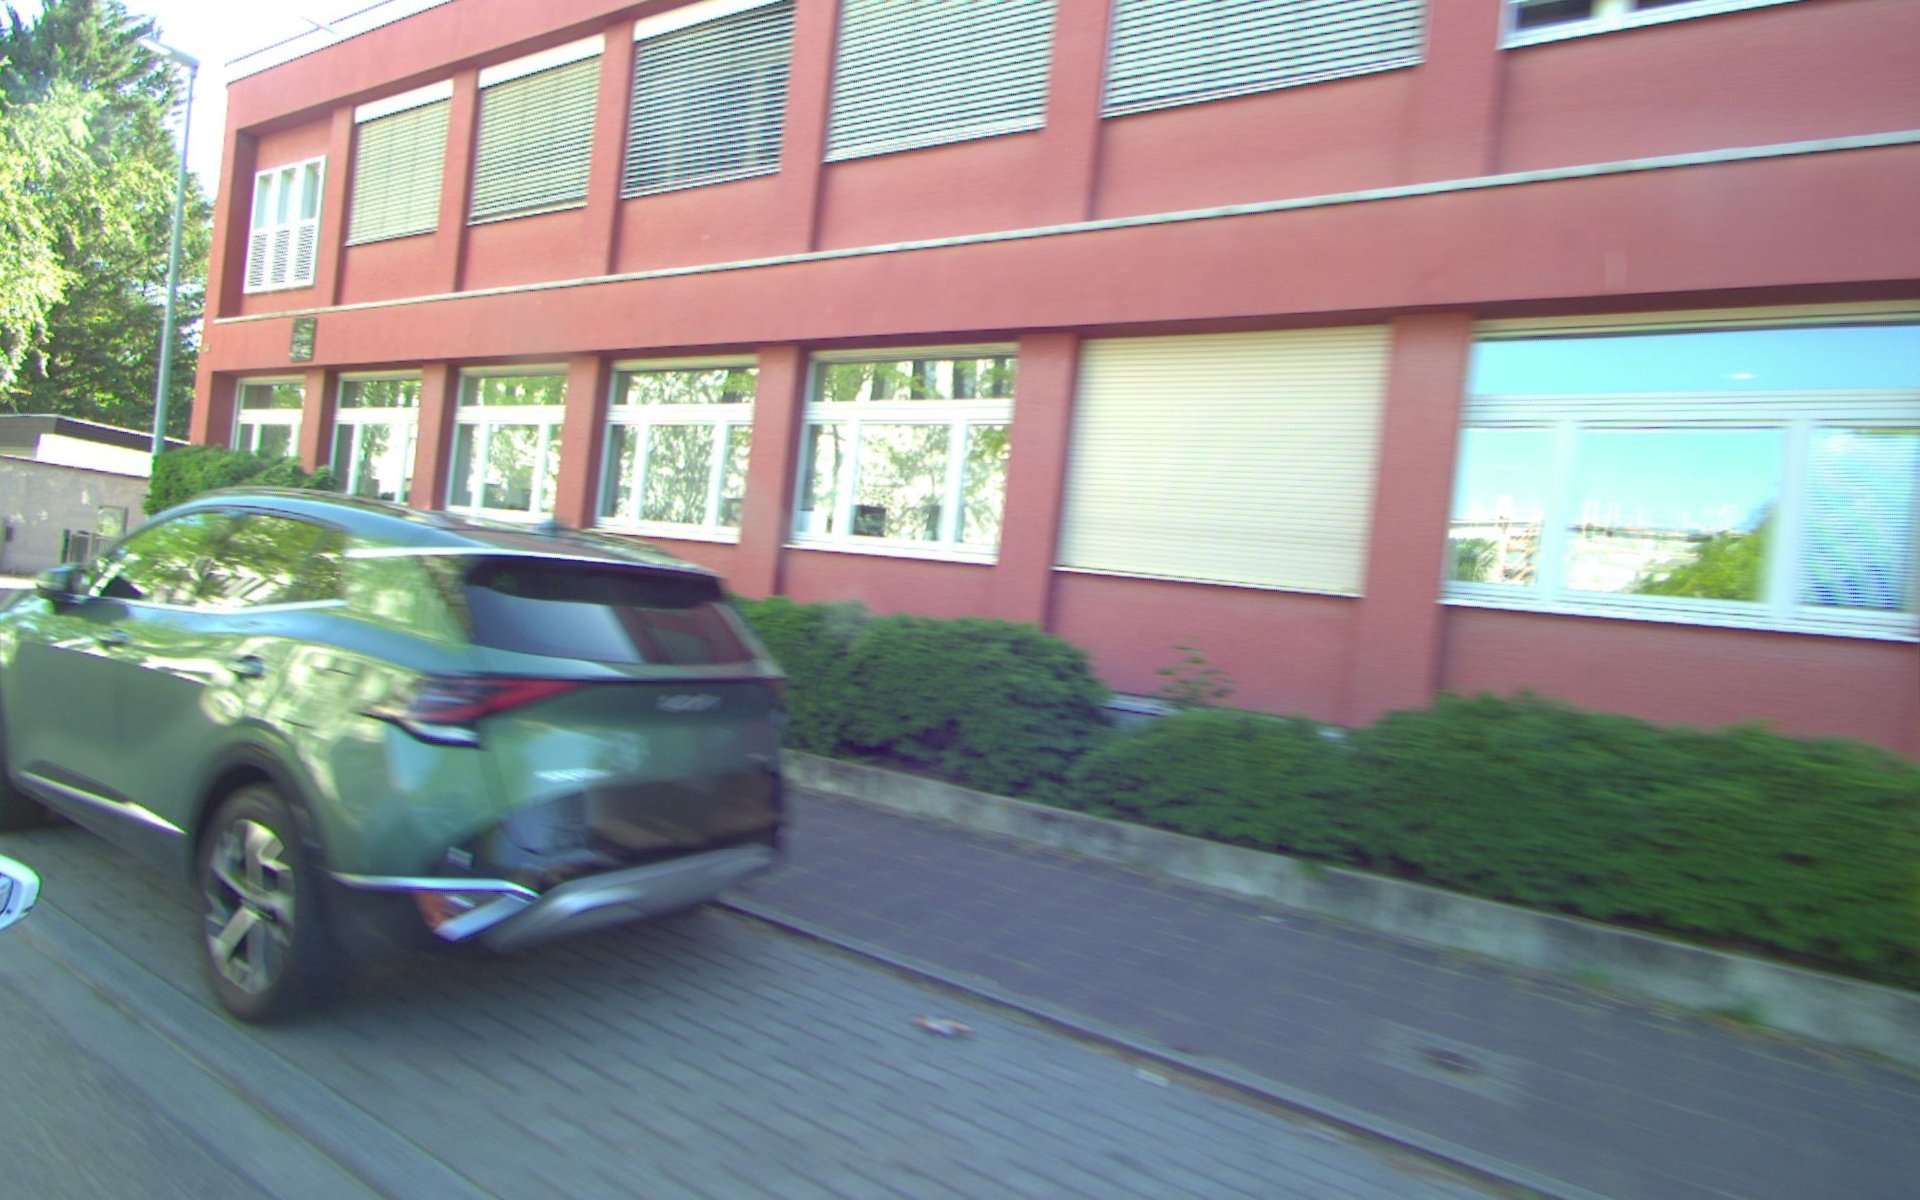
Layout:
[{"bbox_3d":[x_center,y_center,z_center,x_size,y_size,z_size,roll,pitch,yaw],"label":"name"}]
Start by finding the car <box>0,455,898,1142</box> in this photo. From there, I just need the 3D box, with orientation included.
[{"bbox_3d":[-2.641,0.386,4.434,4.300,1.650,1.900,6,0,32],"label":"car"}]
